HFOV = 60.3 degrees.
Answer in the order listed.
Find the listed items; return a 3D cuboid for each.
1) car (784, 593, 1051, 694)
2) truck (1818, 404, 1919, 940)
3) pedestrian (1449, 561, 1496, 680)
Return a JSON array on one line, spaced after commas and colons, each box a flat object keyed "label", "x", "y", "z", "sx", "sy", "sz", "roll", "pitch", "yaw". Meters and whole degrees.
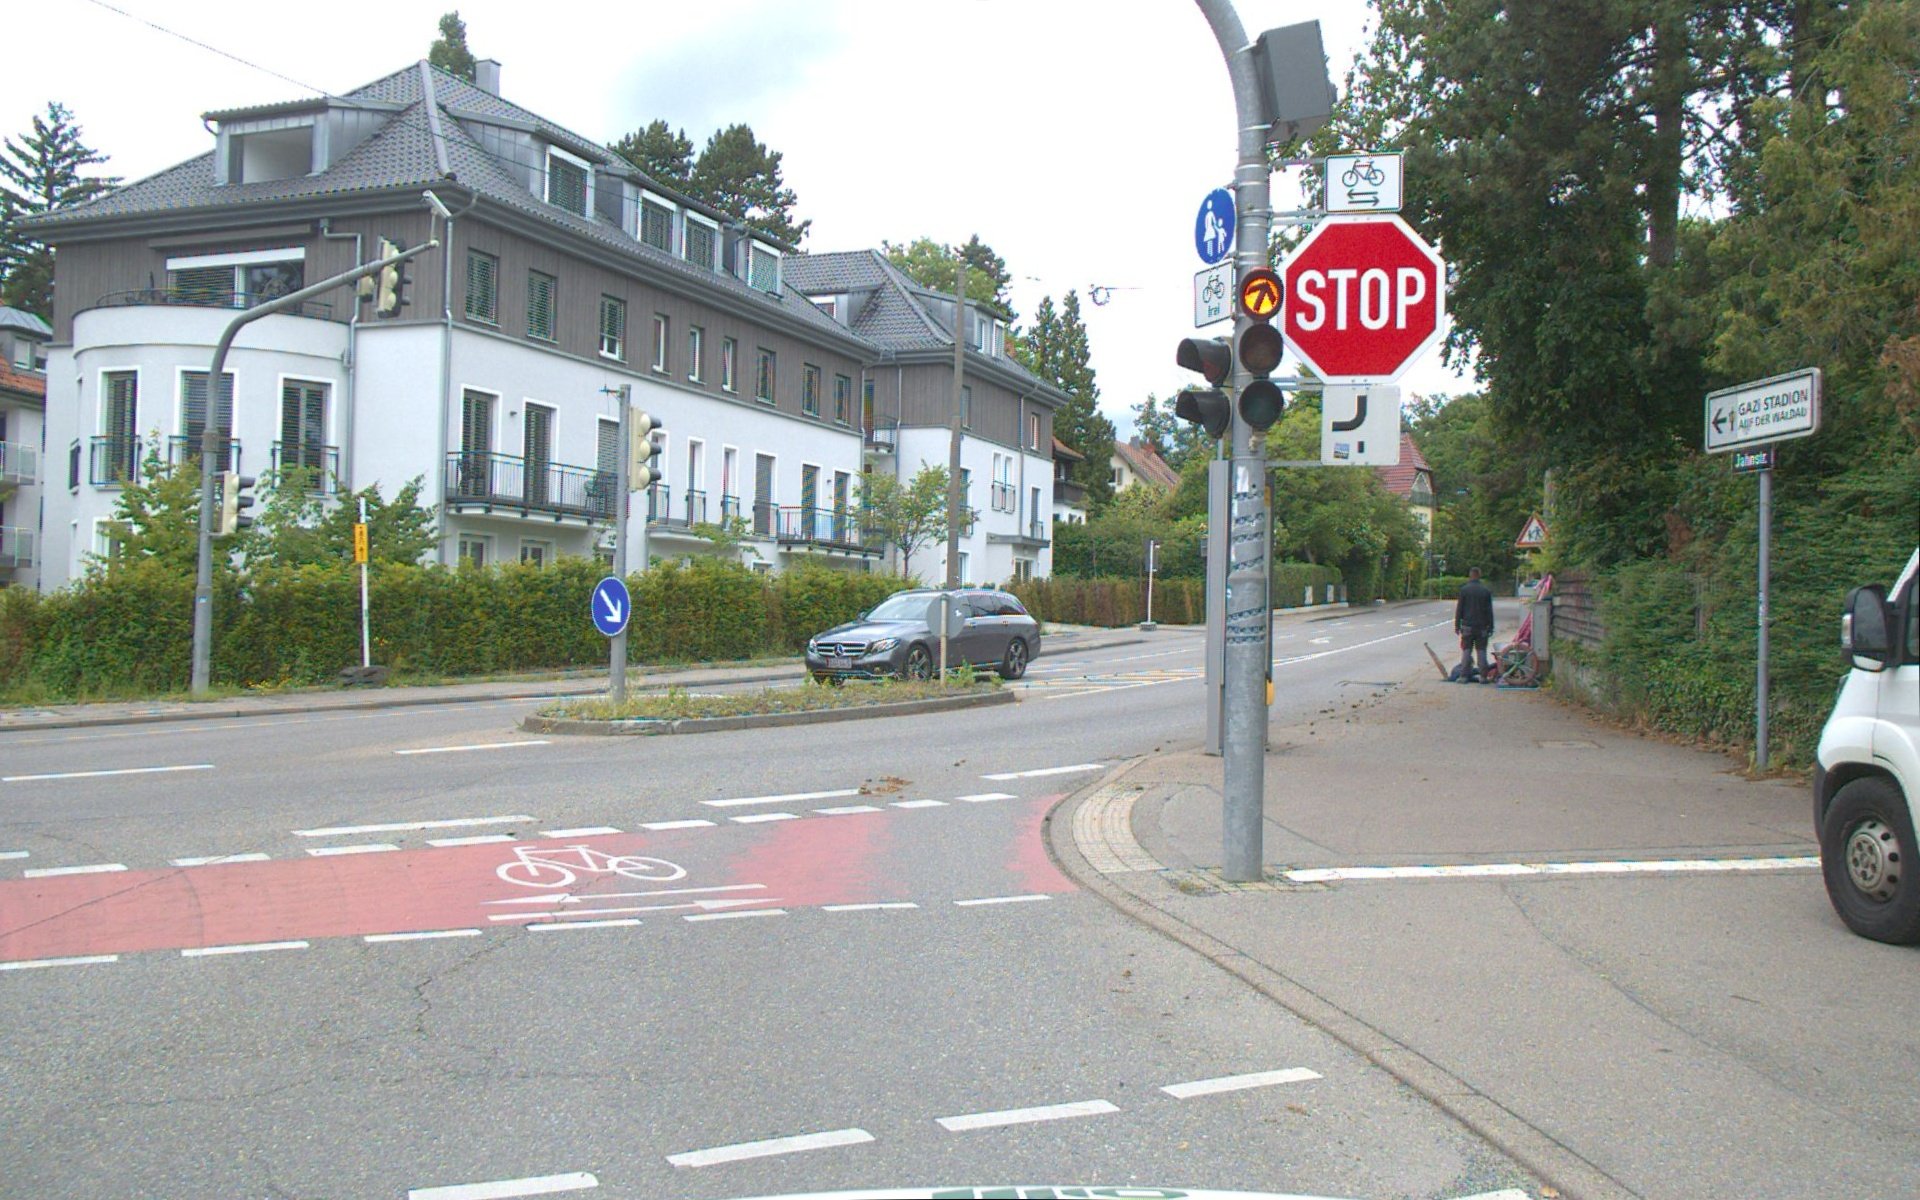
[{"label": "car", "x": -0.565, "y": 0.615, "z": 26.353, "sx": 1.905, "sy": 1.428, "sz": 4.728, "roll": 1, "pitch": 1, "yaw": 34}, {"label": "truck", "x": 5.136, "y": 0.320, "z": 5.023, "sx": 2.162, "sy": 2.283, "sz": 5.724, "roll": 1, "pitch": 0, "yaw": 1}, {"label": "pedestrian", "x": 8.516, "y": 0.335, "z": 27.494, "sx": 0.584, "sy": 1.940, "sz": 0.558, "roll": 1, "pitch": 0, "yaw": 0}]
